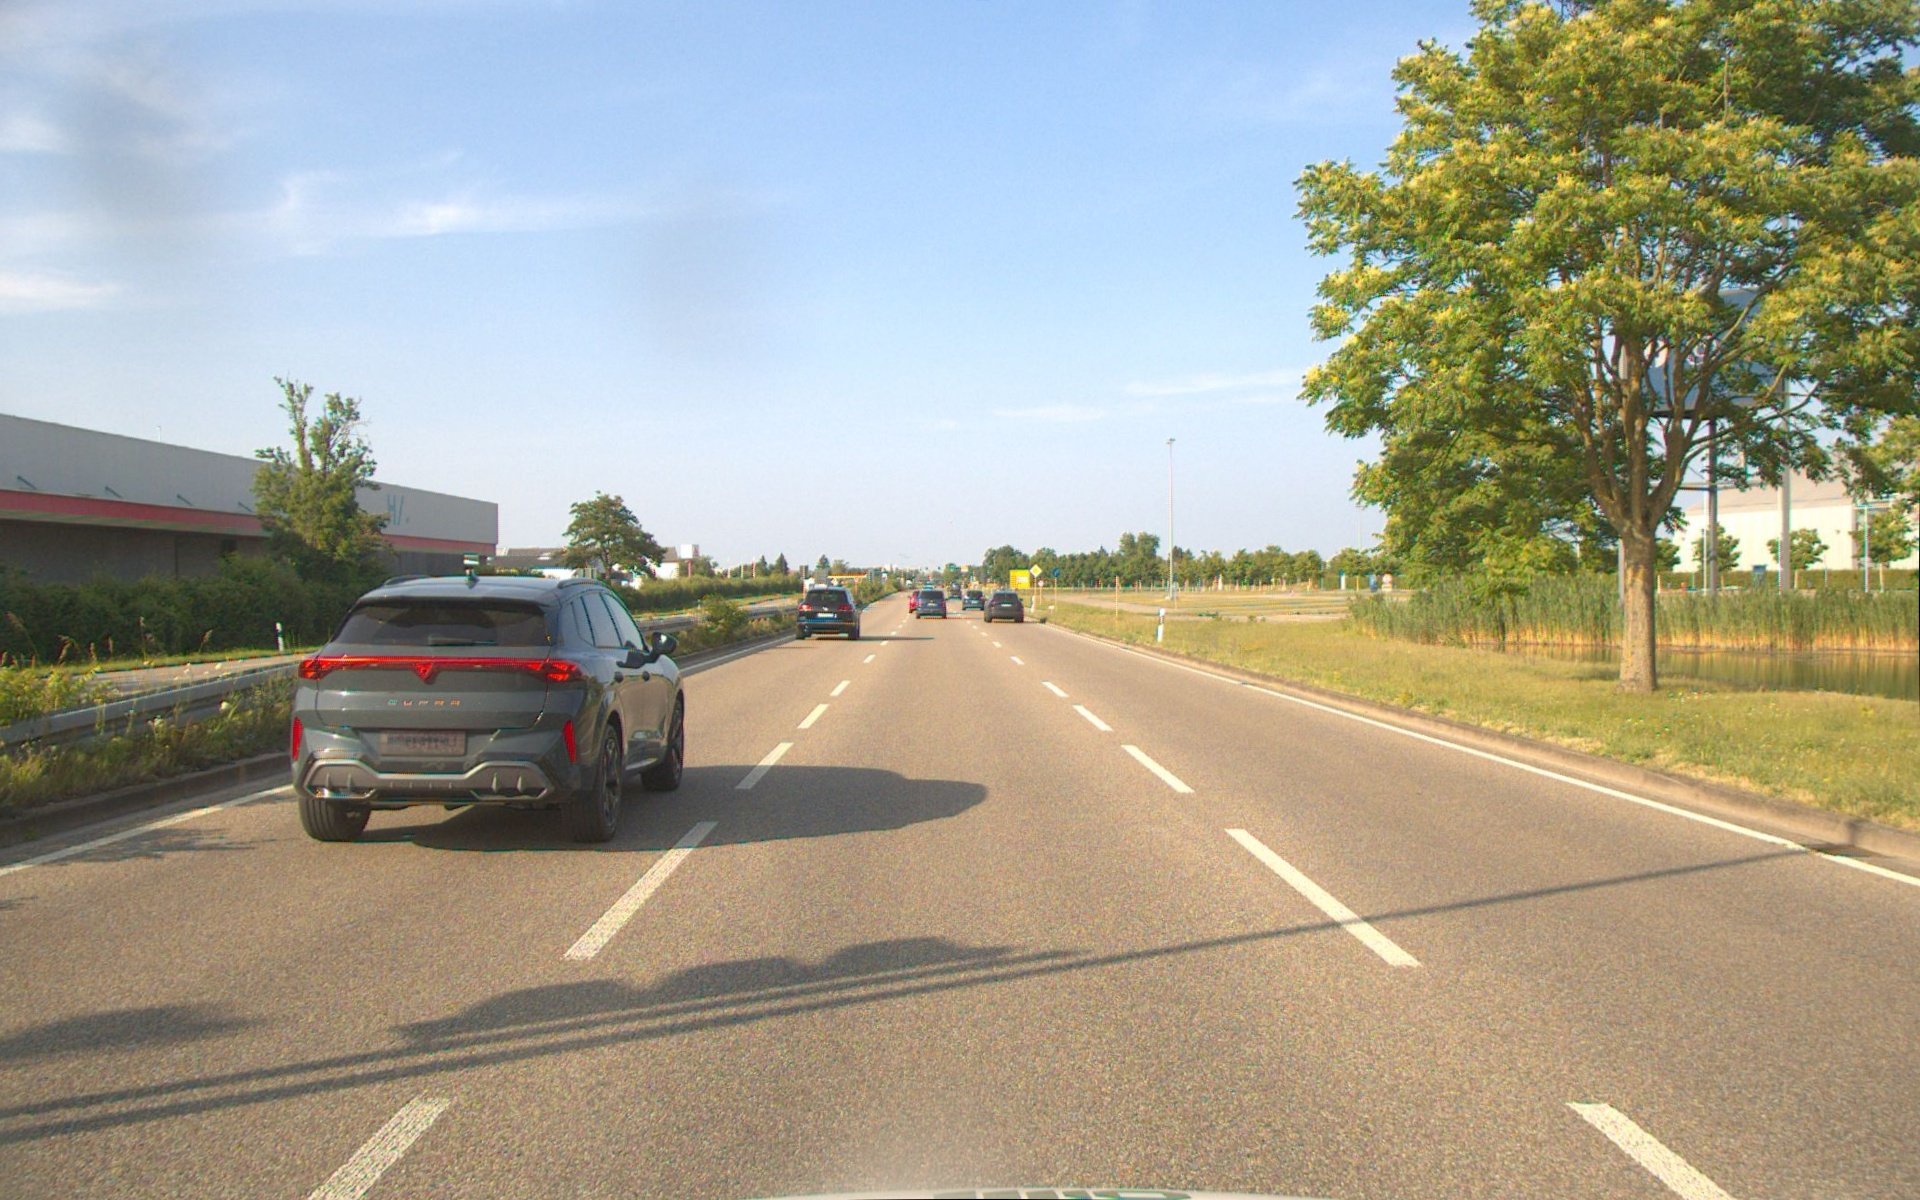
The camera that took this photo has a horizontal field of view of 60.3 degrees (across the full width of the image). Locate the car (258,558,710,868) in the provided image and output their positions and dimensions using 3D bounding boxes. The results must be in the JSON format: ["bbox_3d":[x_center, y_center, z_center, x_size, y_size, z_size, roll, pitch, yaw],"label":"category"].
[{"bbox_3d":[-2.927,0.595,11.222,1.808,1.640,4.400,2,1,-1],"label":"car"}]

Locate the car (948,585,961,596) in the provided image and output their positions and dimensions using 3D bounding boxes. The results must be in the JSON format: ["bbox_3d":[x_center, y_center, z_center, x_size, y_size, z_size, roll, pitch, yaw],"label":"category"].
[{"bbox_3d":[-0.683,-1.203,206.041,1.472,1.336,3.155,2,1,-1],"label":"car"}]

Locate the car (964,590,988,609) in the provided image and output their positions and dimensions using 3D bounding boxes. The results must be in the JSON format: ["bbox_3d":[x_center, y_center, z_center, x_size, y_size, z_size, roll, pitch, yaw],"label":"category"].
[{"bbox_3d":[1.272,-0.051,132.367,1.835,1.488,3.980,2,1,-1],"label":"car"}]

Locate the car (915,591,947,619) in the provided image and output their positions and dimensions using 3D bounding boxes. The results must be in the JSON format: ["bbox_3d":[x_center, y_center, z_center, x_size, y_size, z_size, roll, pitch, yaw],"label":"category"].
[{"bbox_3d":[-1.698,0.276,95.760,1.776,1.488,4.400,2,1,-1],"label":"car"}]

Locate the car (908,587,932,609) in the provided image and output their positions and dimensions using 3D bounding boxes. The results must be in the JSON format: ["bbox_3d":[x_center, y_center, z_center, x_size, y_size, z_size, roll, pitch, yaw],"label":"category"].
[{"bbox_3d":[-2.764,-0.142,115.146,1.614,1.488,3.980,2,1,-1],"label":"car"}]

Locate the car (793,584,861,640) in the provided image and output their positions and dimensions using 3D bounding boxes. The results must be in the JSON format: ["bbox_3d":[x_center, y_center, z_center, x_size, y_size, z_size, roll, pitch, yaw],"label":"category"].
[{"bbox_3d":[-4.280,0.354,53.866,1.893,1.709,4.400,2,1,-1],"label":"car"}]

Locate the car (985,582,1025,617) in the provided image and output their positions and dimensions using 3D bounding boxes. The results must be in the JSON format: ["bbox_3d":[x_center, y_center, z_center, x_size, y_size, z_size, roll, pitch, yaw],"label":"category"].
[{"bbox_3d":[2.325,-0.031,86.488,1.893,1.709,4.400,2,1,-1],"label":"car"}]
